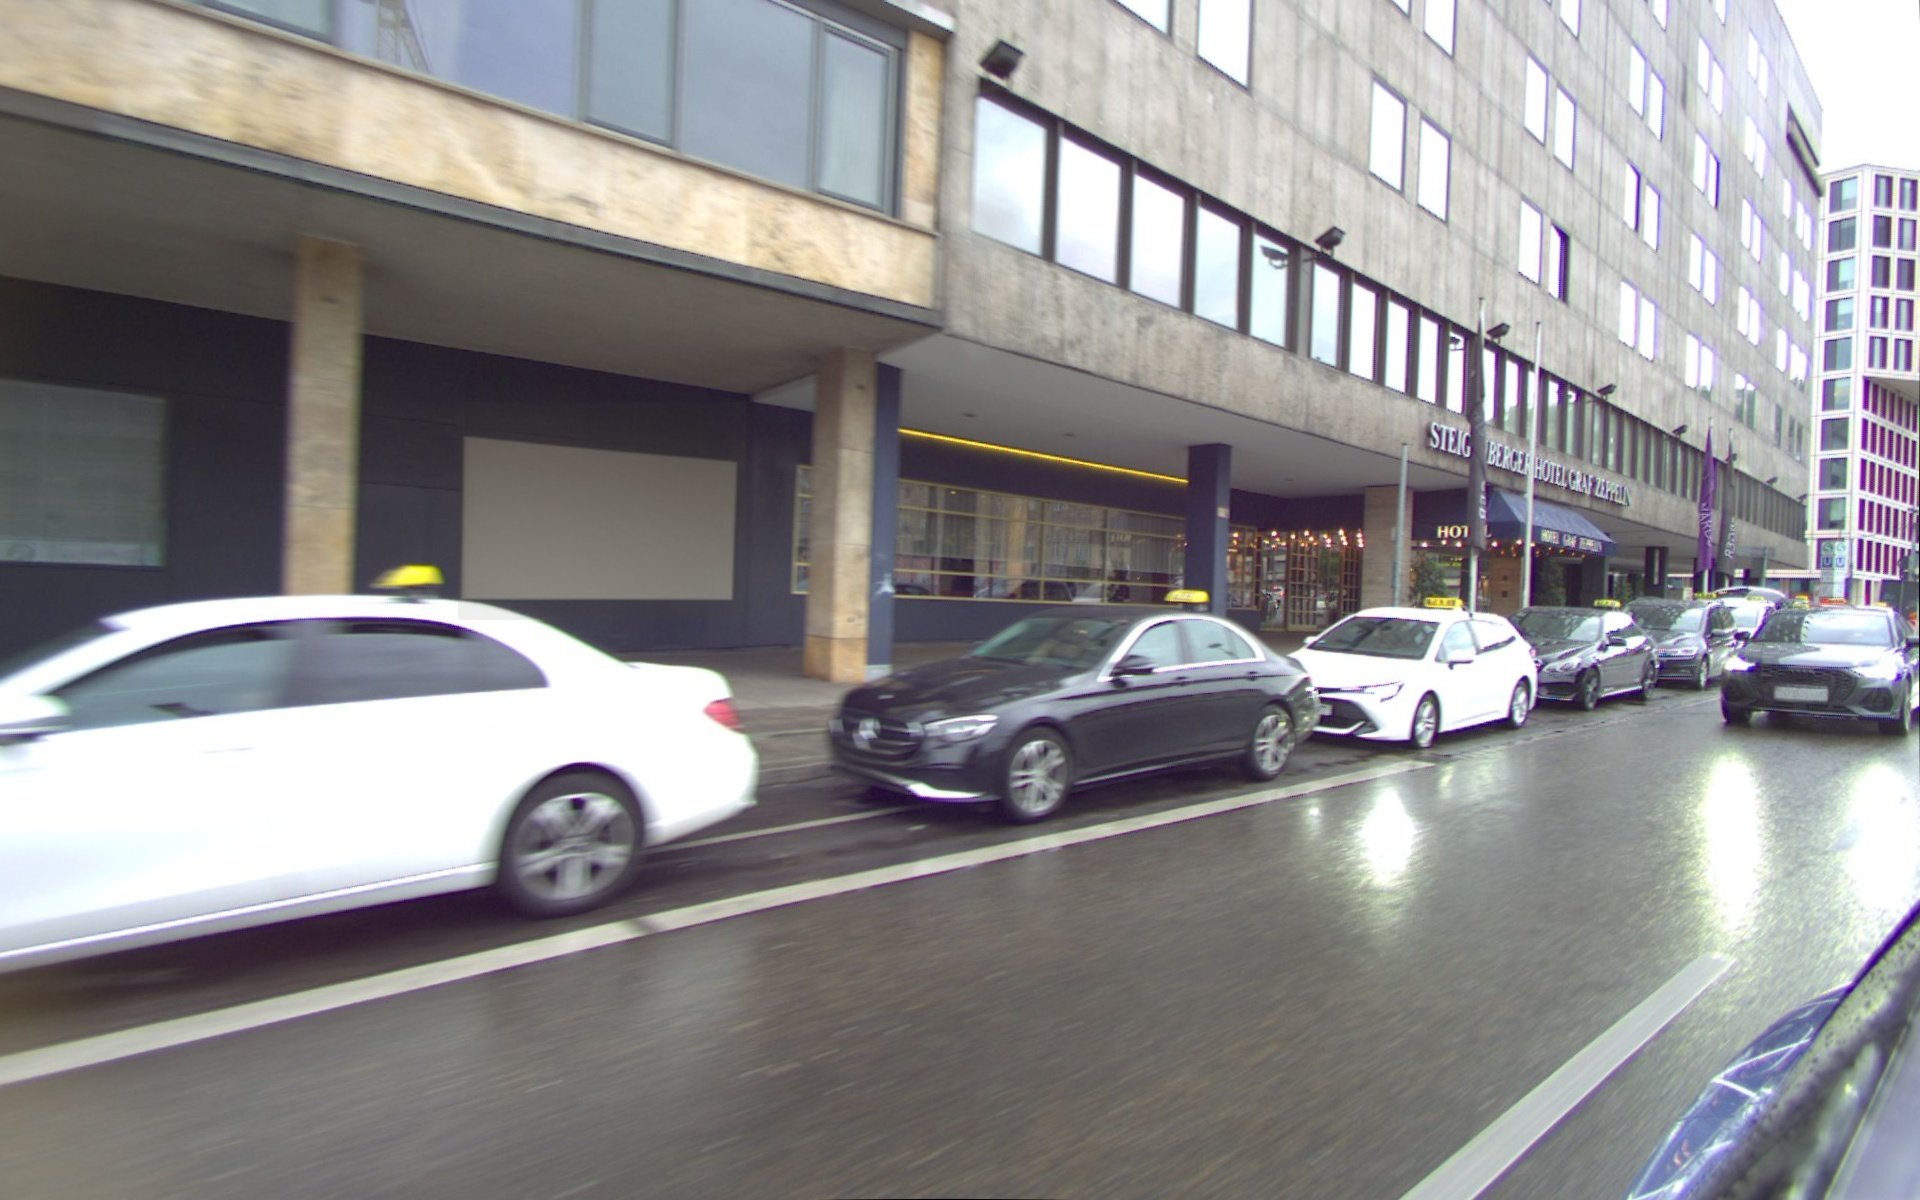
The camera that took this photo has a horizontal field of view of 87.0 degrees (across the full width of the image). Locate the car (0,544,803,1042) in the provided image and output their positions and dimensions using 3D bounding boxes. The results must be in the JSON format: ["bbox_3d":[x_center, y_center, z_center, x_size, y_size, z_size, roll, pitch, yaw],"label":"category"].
[{"bbox_3d":[-3.304,0.635,4.520,4.924,1.658,1.878,0,0,-41],"label":"car"}]

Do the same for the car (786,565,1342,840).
[{"bbox_3d":[1.090,0.599,8.382,4.730,1.658,1.878,0,0,-41],"label":"car"}]

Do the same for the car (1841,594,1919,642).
[{"bbox_3d":[33.629,0.617,36.923,3.931,1.634,1.729,0,0,-41],"label":"car"}]

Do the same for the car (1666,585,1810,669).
[{"bbox_3d":[18.046,0.554,23.391,4.730,1.764,1.729,0,0,-41],"label":"car"}]

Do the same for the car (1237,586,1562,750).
[{"bbox_3d":[5.424,0.654,12.170,4.730,1.612,1.729,0,0,-41],"label":"car"}]

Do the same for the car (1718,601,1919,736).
[{"bbox_3d":[12.043,0.786,13.760,4.266,1.520,1.882,0,0,-40],"label":"car"}]

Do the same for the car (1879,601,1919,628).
[{"bbox_3d":[55.142,0.822,57.938,1.839,1.488,3.990,0,0,9],"label":"car"}]

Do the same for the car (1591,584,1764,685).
[{"bbox_3d":[14.244,0.585,19.979,4.730,1.764,1.729,0,0,-41],"label":"car"}]

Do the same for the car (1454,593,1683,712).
[{"bbox_3d":[9.701,0.698,15.958,4.730,1.612,1.729,0,0,-41],"label":"car"}]

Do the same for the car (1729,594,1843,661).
[{"bbox_3d":[22.074,0.675,27.004,3.931,1.634,1.729,0,0,-41],"label":"car"}]

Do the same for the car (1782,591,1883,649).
[{"bbox_3d":[26.054,0.544,30.180,3.931,1.634,1.729,0,0,-41],"label":"car"}]
